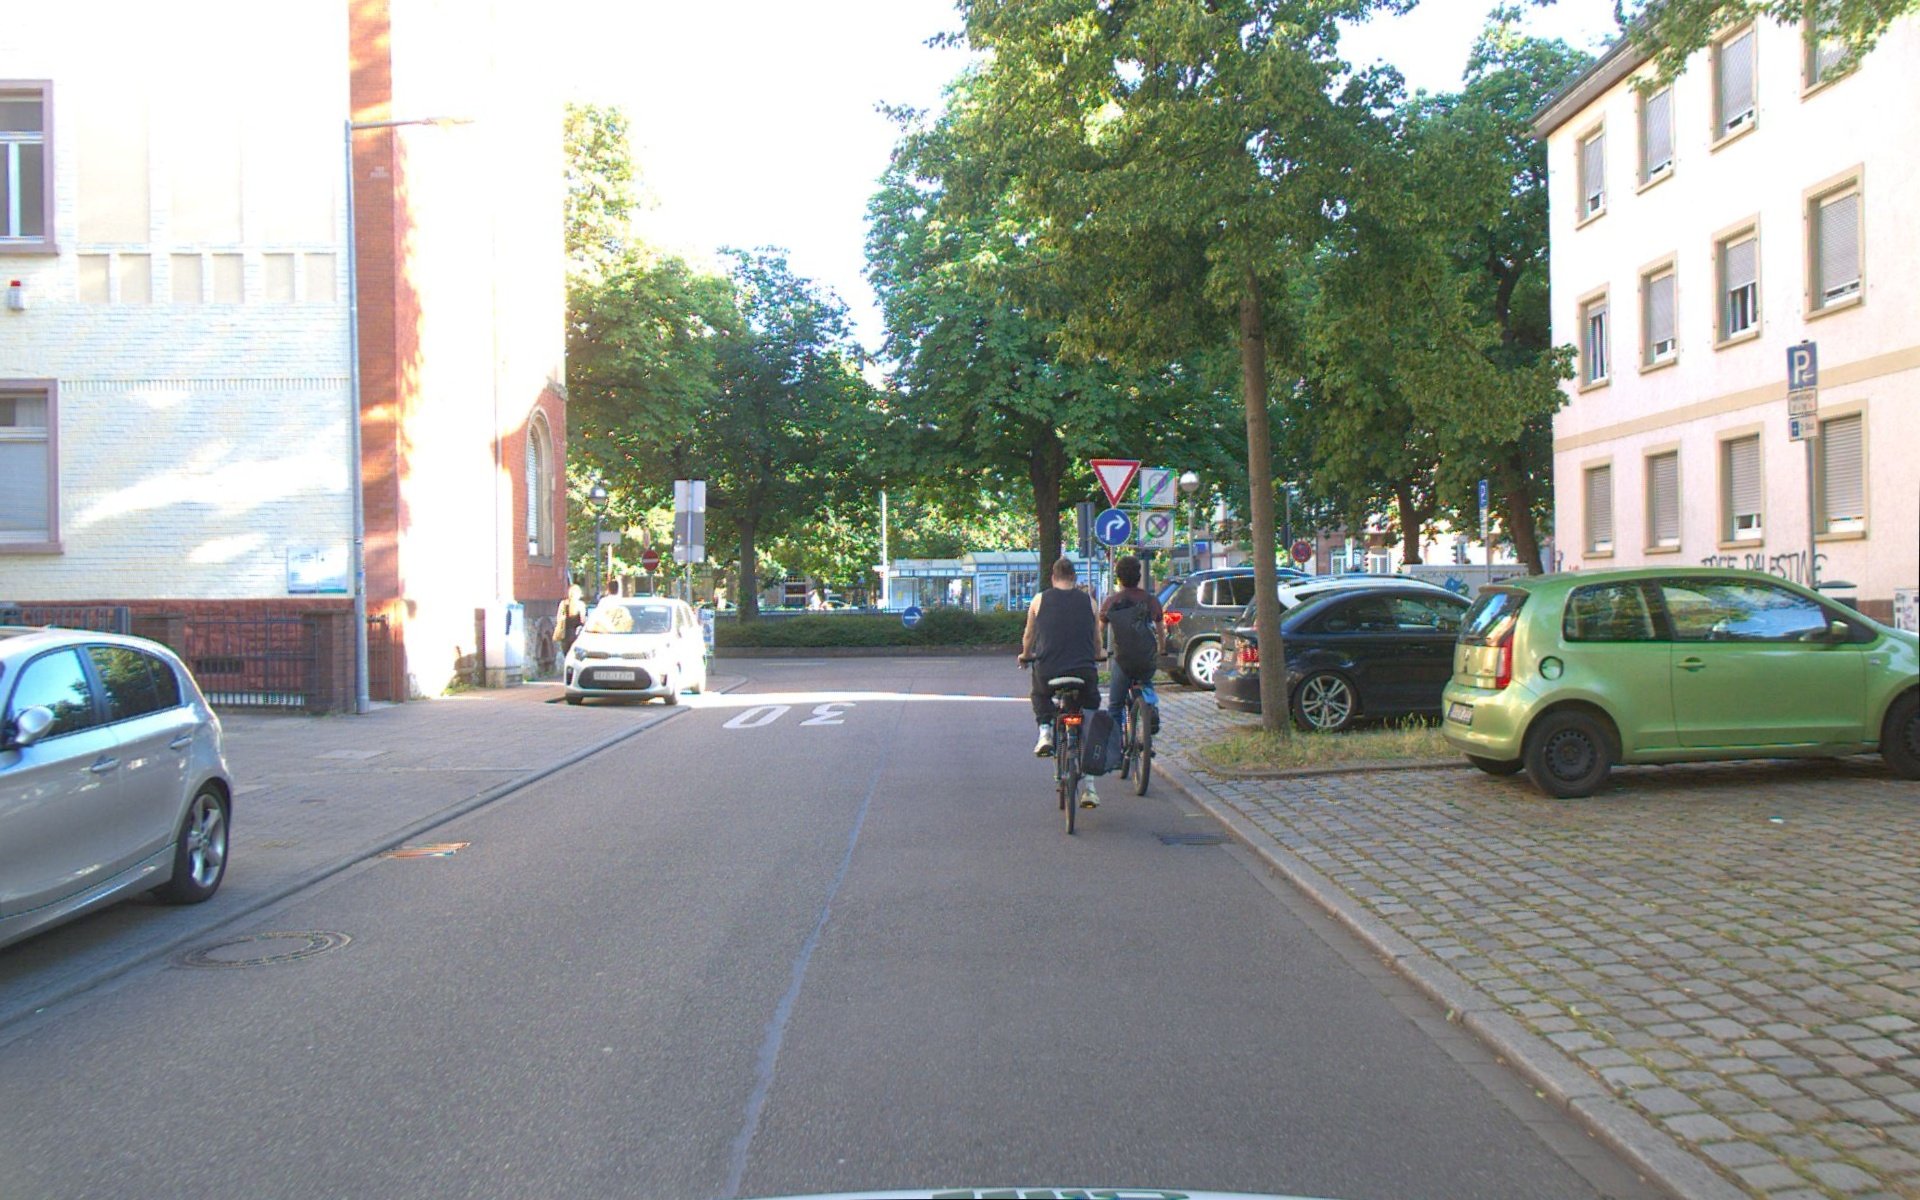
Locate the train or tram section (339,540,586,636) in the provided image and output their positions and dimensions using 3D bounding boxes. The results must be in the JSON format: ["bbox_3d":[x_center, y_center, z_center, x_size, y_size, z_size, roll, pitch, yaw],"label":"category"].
[{"bbox_3d":[-18.029,-0.374,60.012,8.304,3.233,2.841,1,0,-24],"label":"train or tram section"}]

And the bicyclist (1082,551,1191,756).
[{"bbox_3d":[1.379,0.415,13.075,0.658,1.541,1.068,-1,-1,-4],"label":"bicyclist"}]

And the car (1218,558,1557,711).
[{"bbox_3d":[4.987,0.390,19.659,3.616,1.680,1.705,-1,0,3],"label":"car"}]

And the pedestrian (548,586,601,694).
[{"bbox_3d":[-5.971,0.605,25.665,0.587,1.633,0.855,-1,0,0],"label":"pedestrian"}]

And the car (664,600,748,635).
[{"bbox_3d":[-13.187,0.920,85.918,3.920,1.709,1.922,-1,0,-45],"label":"car"}]

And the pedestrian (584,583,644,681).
[{"bbox_3d":[-6.004,0.550,28.766,0.849,1.672,0.860,-1,0,-1],"label":"pedestrian"}]

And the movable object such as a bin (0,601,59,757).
[{"bbox_3d":[-8.786,0.673,14.385,1.346,1.321,0.969,0,0,9],"label":"movable object such as a bin"}]

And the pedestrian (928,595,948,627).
[{"bbox_3d":[-1.087,0.539,81.064,0.795,1.570,0.818,1,0,-12],"label":"pedestrian"}]

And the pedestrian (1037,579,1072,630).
[{"bbox_3d":[3.598,0.174,63.029,1.003,1.930,0.906,-1,0,-23],"label":"pedestrian"}]

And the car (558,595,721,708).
[{"bbox_3d":[-4.675,0.703,24.595,1.670,1.511,3.797,1,0,0],"label":"car"}]

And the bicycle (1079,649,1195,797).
[{"bbox_3d":[1.382,0.938,13.273,0.660,1.072,2.060,-1,-1,-1],"label":"bicycle"}]

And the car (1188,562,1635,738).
[{"bbox_3d":[4.509,0.485,16.953,4.022,1.436,1.792,-4,0,-1],"label":"car"}]

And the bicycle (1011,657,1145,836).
[{"bbox_3d":[0.756,0.935,11.196,0.722,1.030,2.061,1,-1,-1],"label":"bicycle"}]

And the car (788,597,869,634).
[{"bbox_3d":[-7.172,0.821,90.149,3.938,1.903,1.983,-1,0,-26],"label":"car"}]

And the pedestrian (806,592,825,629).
[{"bbox_3d":[-6.863,0.504,78.428,0.692,1.724,0.666,1,0,-22],"label":"pedestrian"}]

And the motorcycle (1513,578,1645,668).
[{"bbox_3d":[9.543,0.338,25.617,0.957,1.302,2.178,-1,0,-9],"label":"motorcycle"}]

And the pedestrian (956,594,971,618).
[{"bbox_3d":[0.249,0.418,113.396,0.980,1.659,1.064,-1,0,-2],"label":"pedestrian"}]

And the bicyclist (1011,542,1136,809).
[{"bbox_3d":[0.748,0.486,11.165,0.737,1.711,0.913,-1,0,-1],"label":"bicyclist"}]

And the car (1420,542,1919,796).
[{"bbox_3d":[5.253,0.428,11.638,3.516,1.531,1.678,-3,1,0],"label":"car"}]

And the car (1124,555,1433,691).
[{"bbox_3d":[4.595,0.306,24.260,4.026,1.742,2.022,-2,1,-5],"label":"car"}]

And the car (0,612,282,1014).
[{"bbox_3d":[-4.522,0.821,7.070,1.709,1.492,4.101,0,0,-3],"label":"car"}]
